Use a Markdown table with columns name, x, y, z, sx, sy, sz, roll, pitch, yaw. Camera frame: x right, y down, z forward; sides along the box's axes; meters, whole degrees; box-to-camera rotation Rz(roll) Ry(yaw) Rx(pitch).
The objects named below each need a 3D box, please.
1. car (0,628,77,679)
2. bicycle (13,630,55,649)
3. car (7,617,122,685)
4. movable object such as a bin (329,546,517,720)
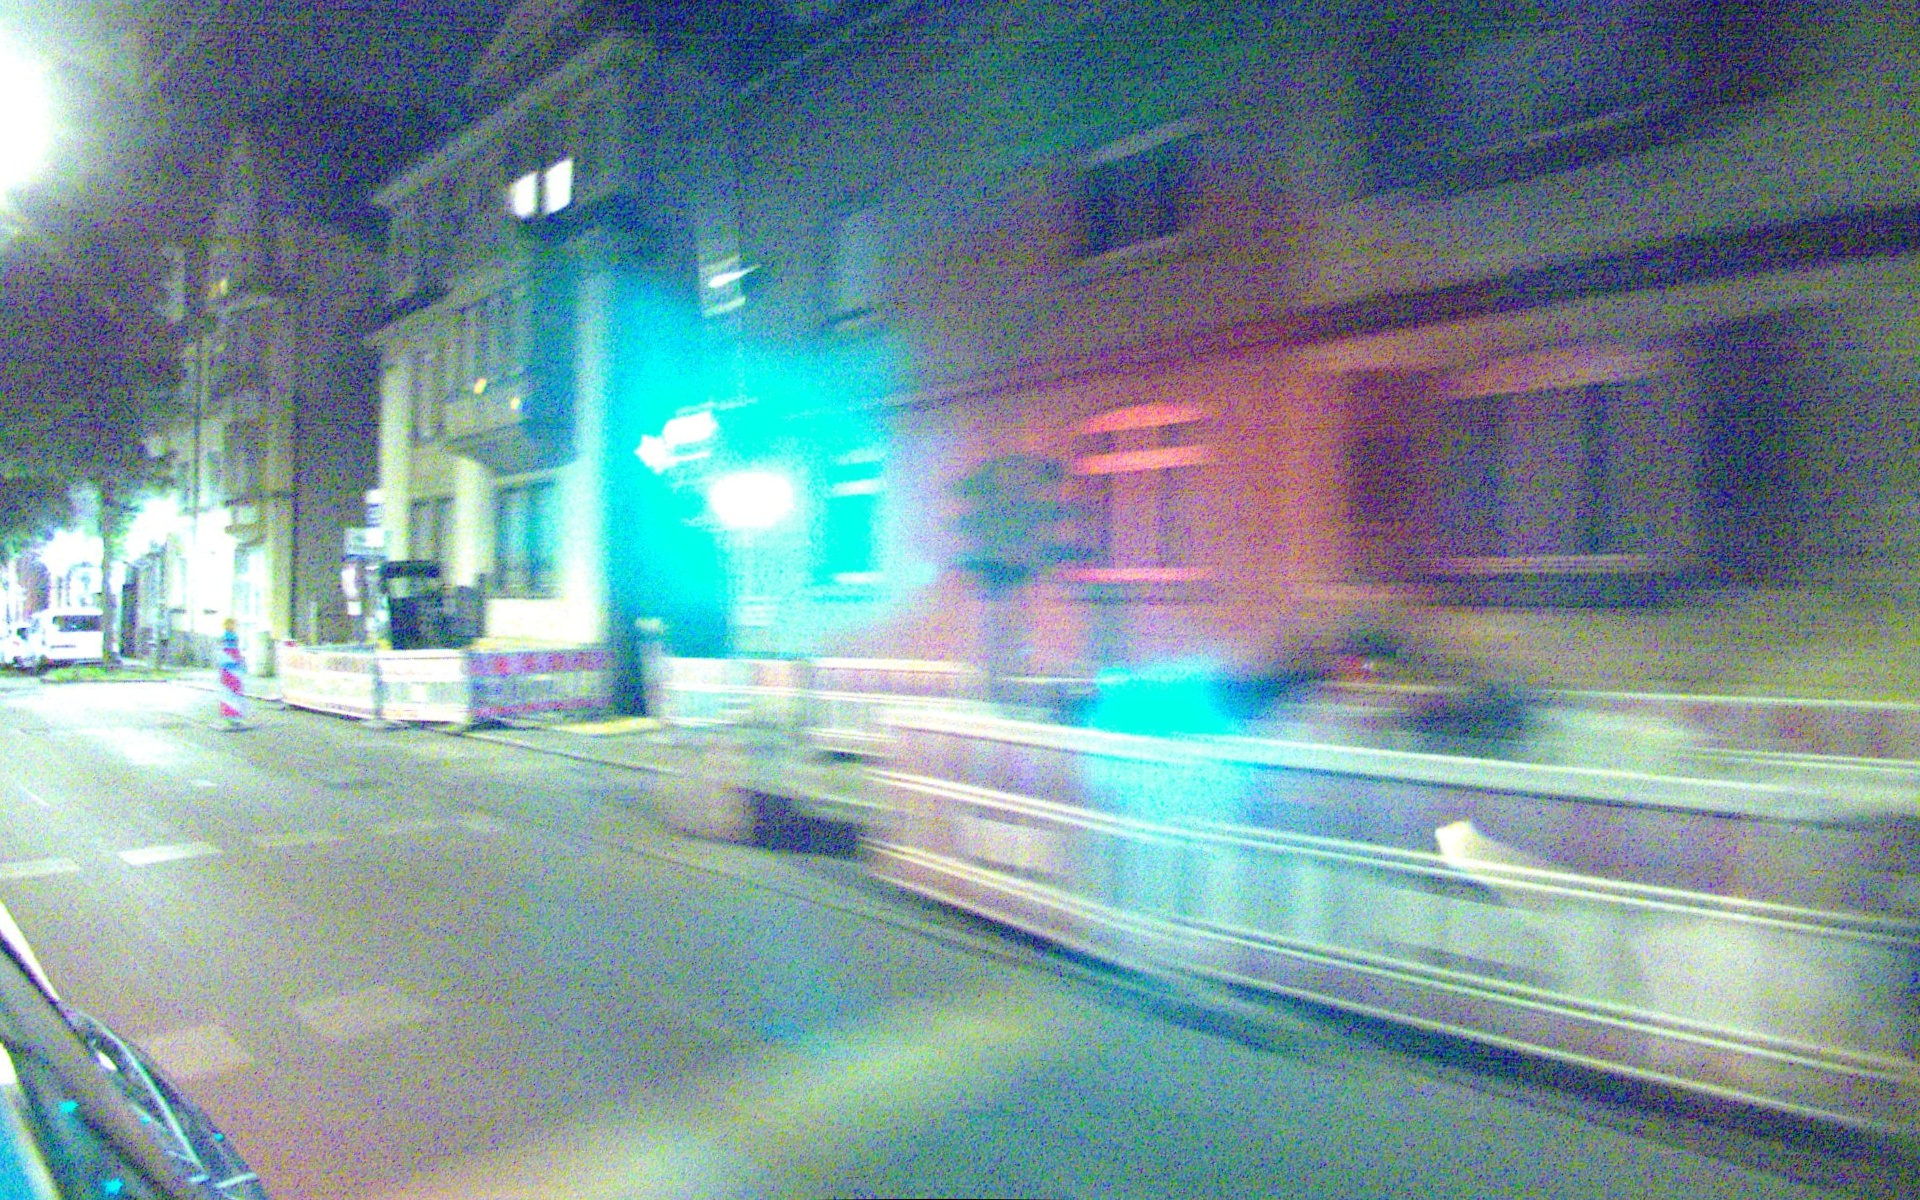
| name | x | y | z | sx | sy | sz | roll | pitch | yaw |
| --- | --- | --- | --- | --- | --- | --- | --- | --- | --- |
| car | -30.567 | 1.696 | 33.238 | 4.880 | 1.461 | 1.819 | -1 | -1 | 43 |
| bicycle | -57.283 | 2.430 | 62.615 | 1.760 | 1.160 | 0.761 | 1 | -2 | -6 |
| car | -26.278 | 1.424 | 29.633 | 4.812 | 1.857 | 1.863 | -1 | -2 | 41 |
| movable object such as a bin | -9.270 | 0.558 | 17.345 | 3.909 | 2.647 | 1.554 | -1 | -3 | 42 |
